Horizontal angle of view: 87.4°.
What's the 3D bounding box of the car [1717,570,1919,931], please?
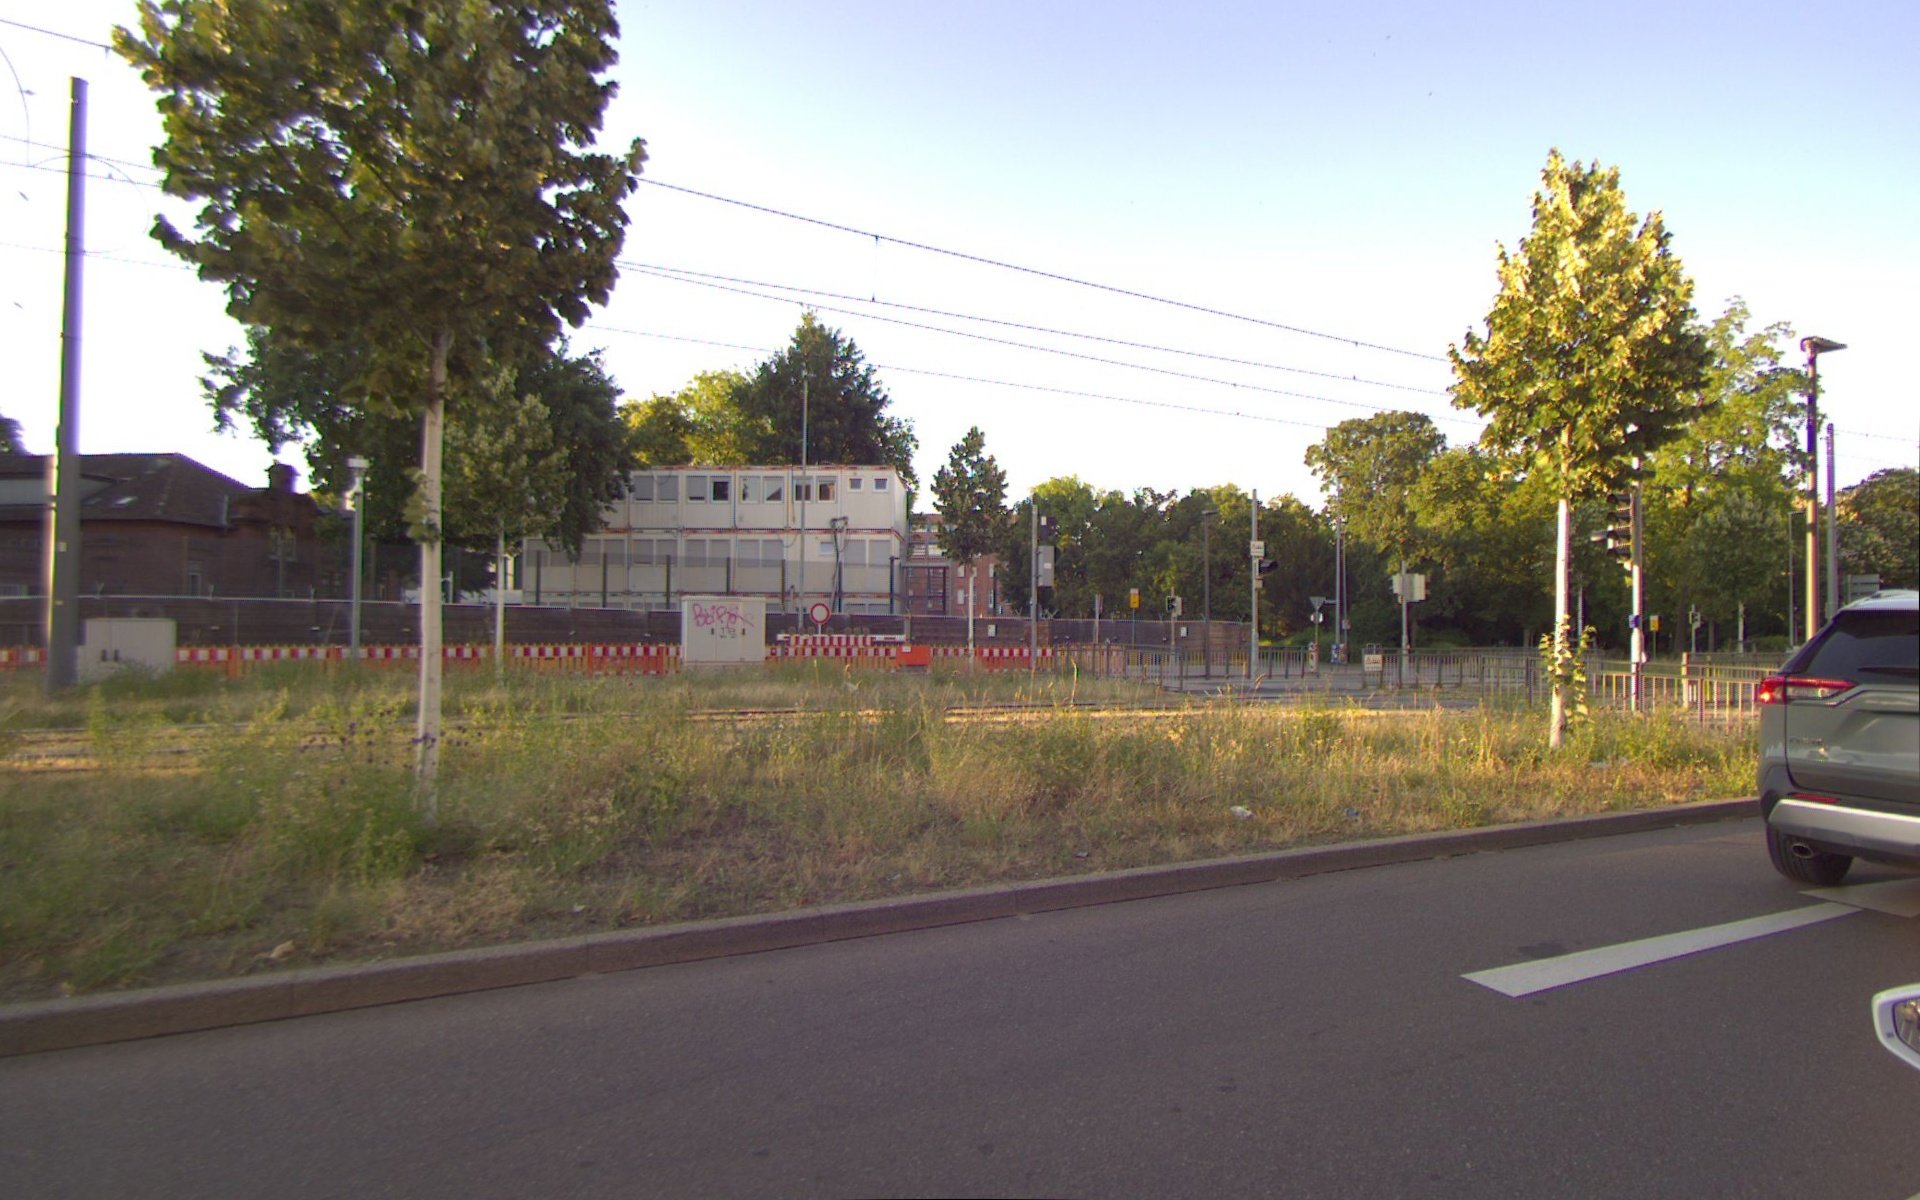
[{"bbox_3d":[6.301,0.704,5.708,4.221,1.681,1.844,0,0,-32],"label":"car"}]
